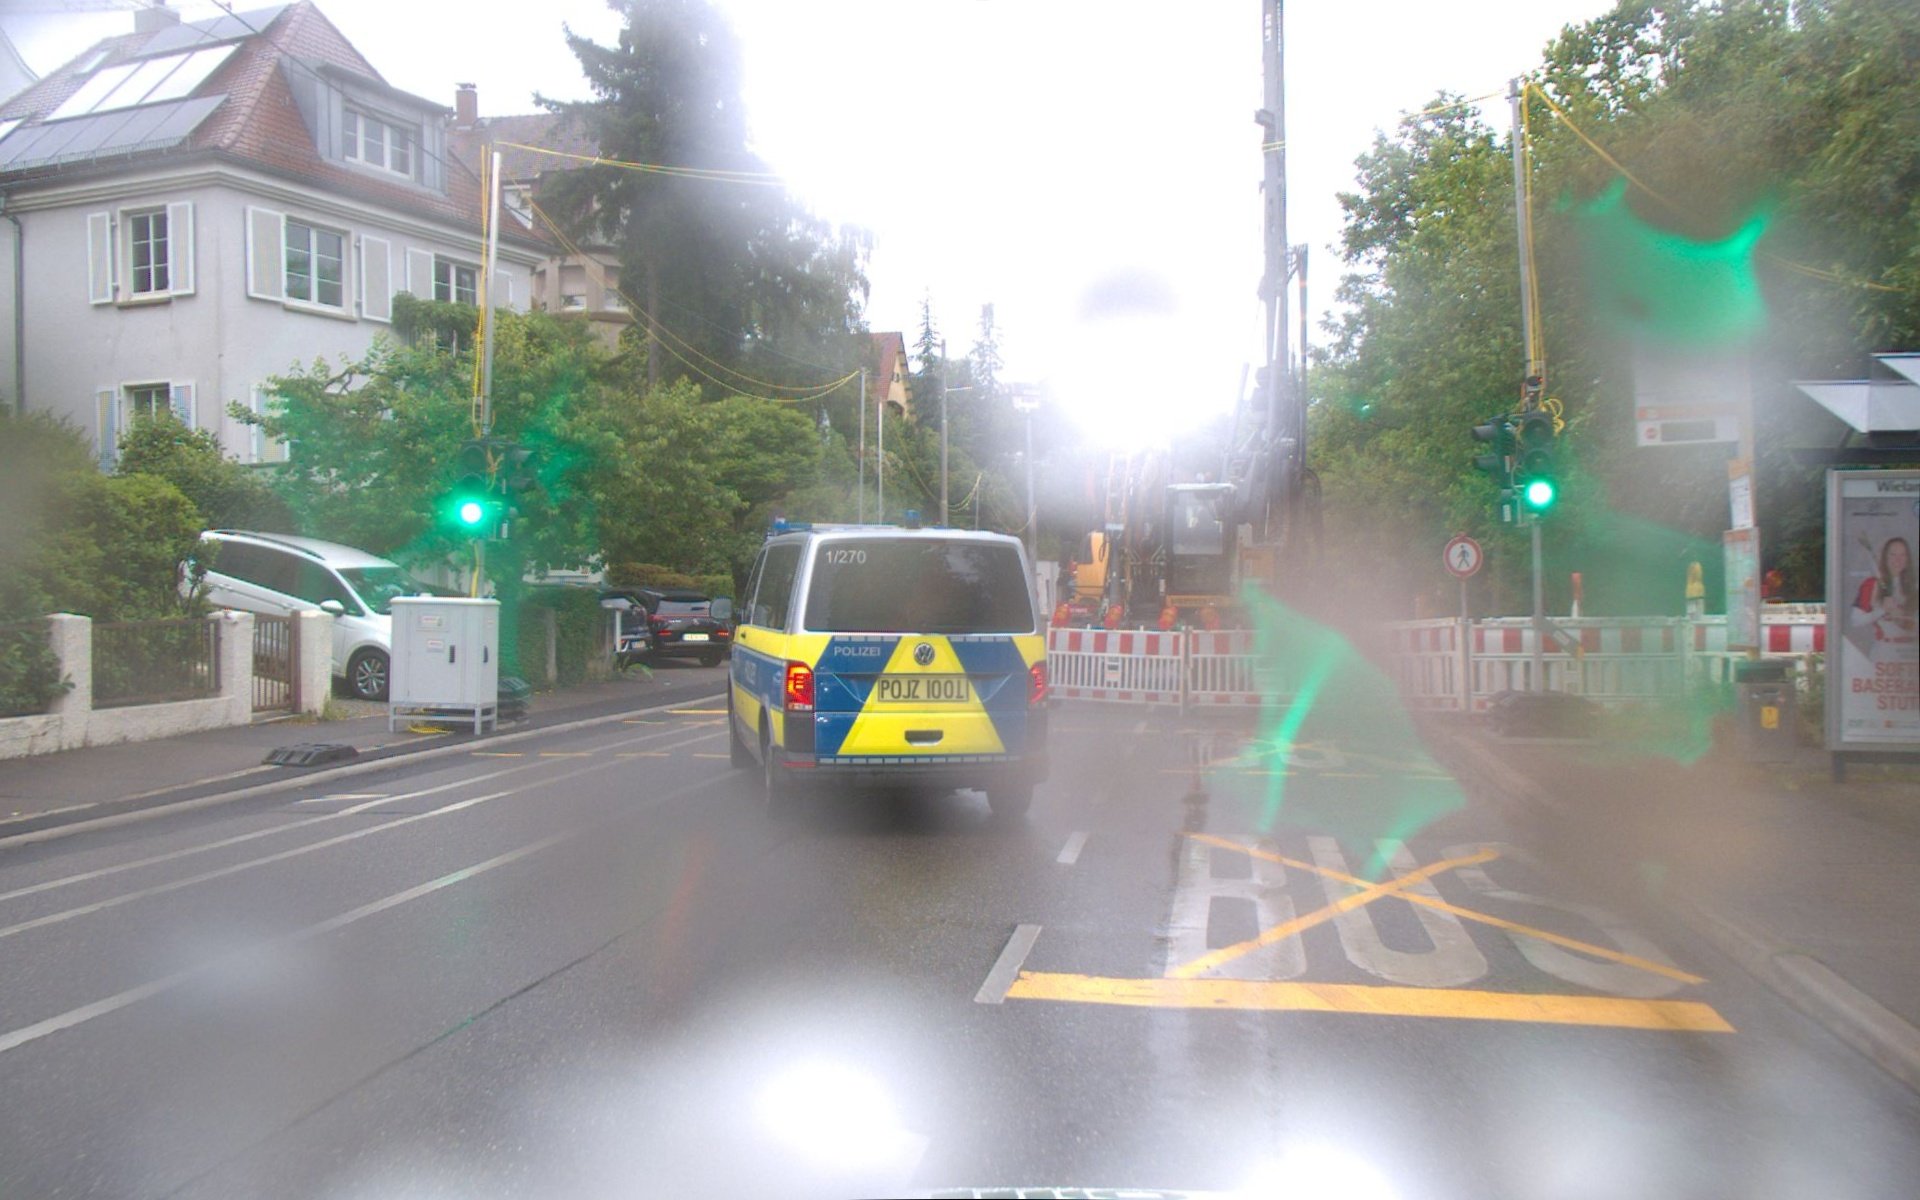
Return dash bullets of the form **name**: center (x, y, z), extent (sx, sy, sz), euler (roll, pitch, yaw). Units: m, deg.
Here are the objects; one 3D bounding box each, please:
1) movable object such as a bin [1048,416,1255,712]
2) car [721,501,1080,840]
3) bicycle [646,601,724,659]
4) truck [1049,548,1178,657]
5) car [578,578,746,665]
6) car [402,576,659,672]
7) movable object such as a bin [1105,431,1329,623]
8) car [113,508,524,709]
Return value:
- **movable object such as a bin**: center (3.164, -0.529, 26.266), extent (2.817, 4.243, 4.491), euler (-1, 0, 12)
- **car**: center (-0.655, 0.458, 12.382), extent (1.875, 2.046, 4.425), euler (1, -1, -13)
- **bicycle**: center (-5.712, 0.620, 34.299), extent (1.585, 1.151, 0.443), euler (1, -1, 22)
- **truck**: center (3.300, 0.076, 34.941), extent (2.496, 2.145, 3.306), euler (-1, -1, 8)
- **car**: center (-5.786, 0.386, 31.781), extent (1.765, 1.552, 3.953), euler (2, 0, -34)
- **car**: center (-7.484, 0.396, 28.905), extent (3.903, 1.552, 1.941), euler (1, -1, 18)
- **movable object such as a bin**: center (7.704, -1.957, 48.840), extent (3.621, 5.155, 7.134), euler (-2, -1, 36)
- **car**: center (-8.445, 0.054, 21.773), extent (4.867, 1.642, 1.864), euler (11, 4, 19)
